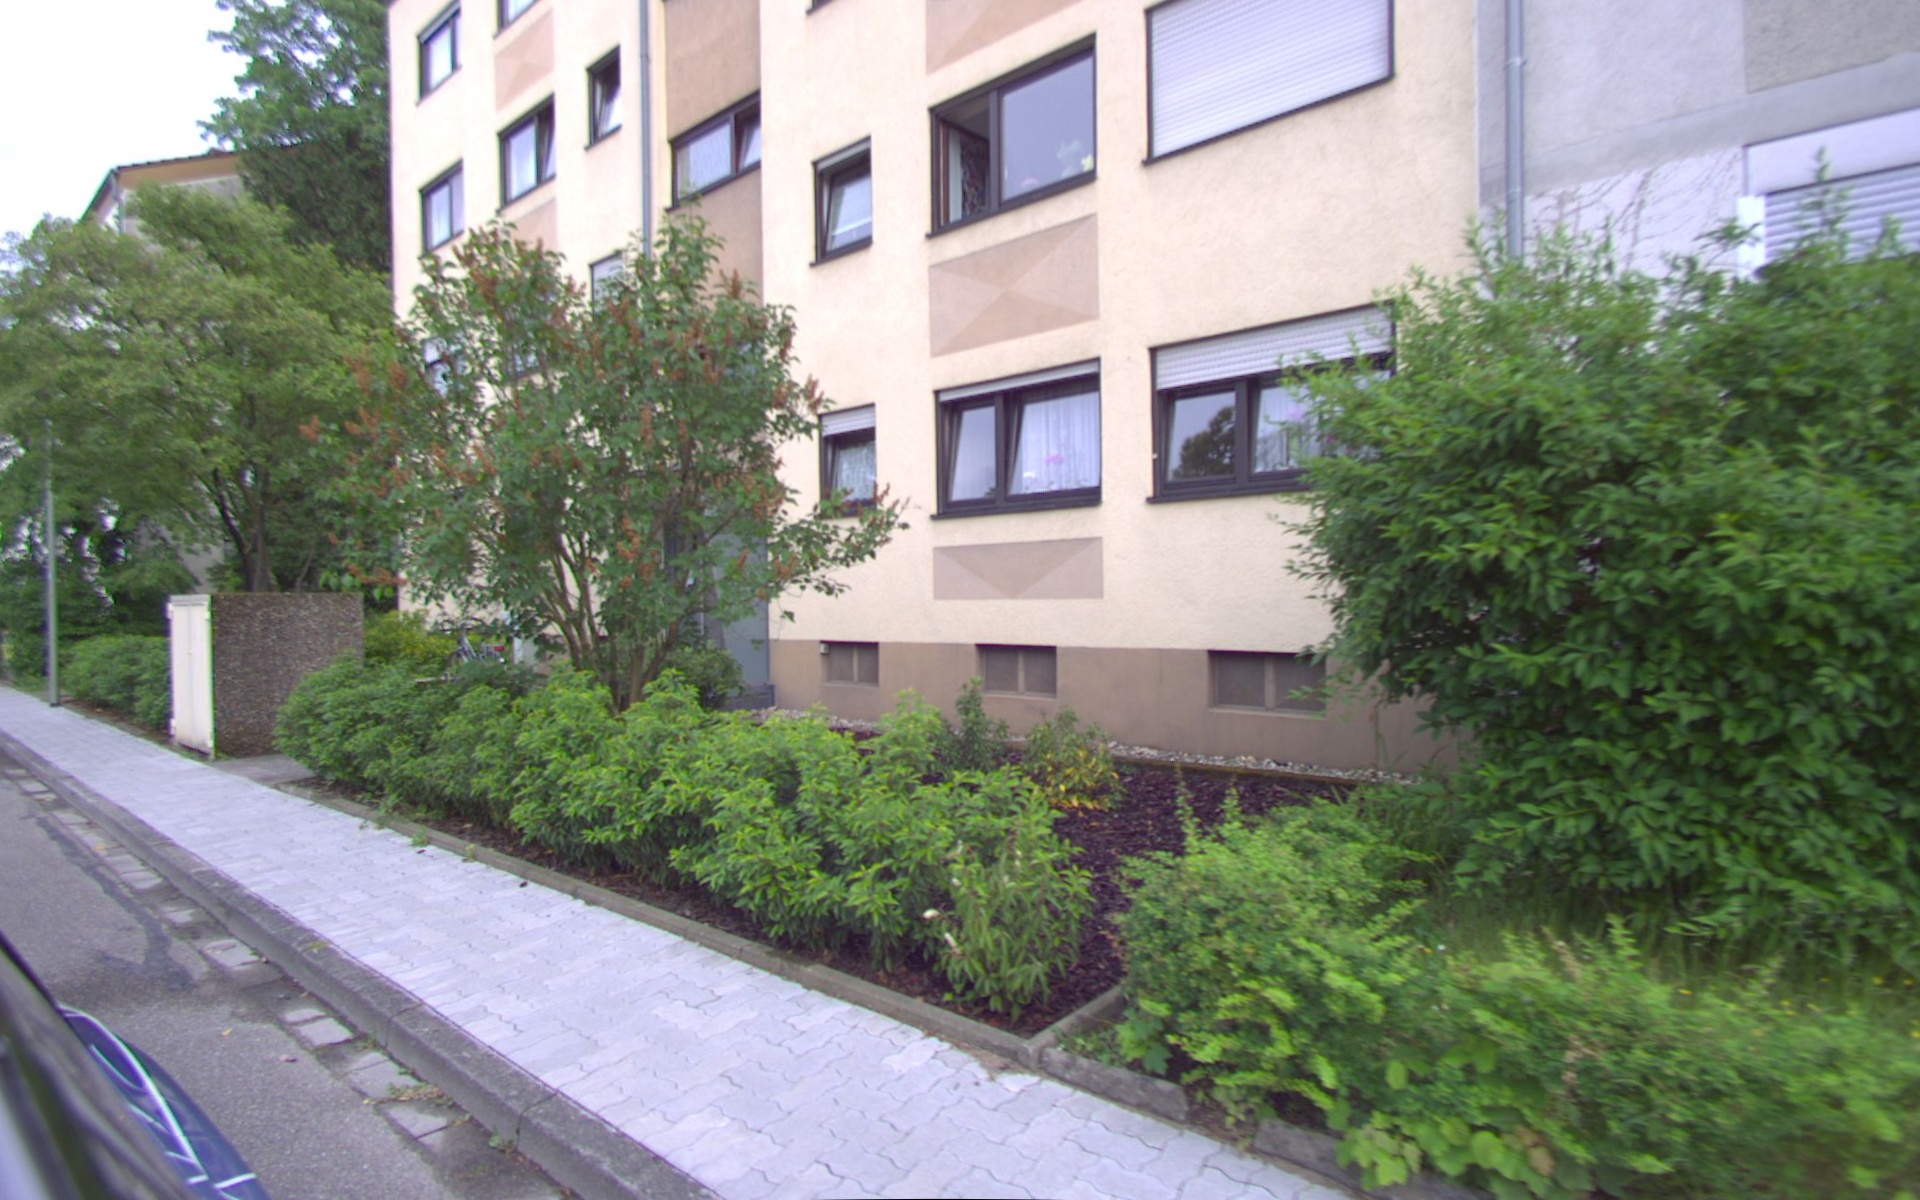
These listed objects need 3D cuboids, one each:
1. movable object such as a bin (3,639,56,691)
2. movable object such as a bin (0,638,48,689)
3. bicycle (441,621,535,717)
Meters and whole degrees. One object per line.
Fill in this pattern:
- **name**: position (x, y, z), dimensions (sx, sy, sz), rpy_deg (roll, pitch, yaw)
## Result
- **movable object such as a bin**: position (-18.740, 1.302, 20.395), dimensions (0.534, 1.030, 0.592), rpy_deg (-1, -3, 22)
- **movable object such as a bin**: position (-19.249, 1.294, 20.761), dimensions (0.534, 1.030, 0.592), rpy_deg (-1, -3, 22)
- **bicycle**: position (-5.593, 0.808, 11.948), dimensions (1.690, 1.059, 0.311), rpy_deg (-3, -2, 40)
